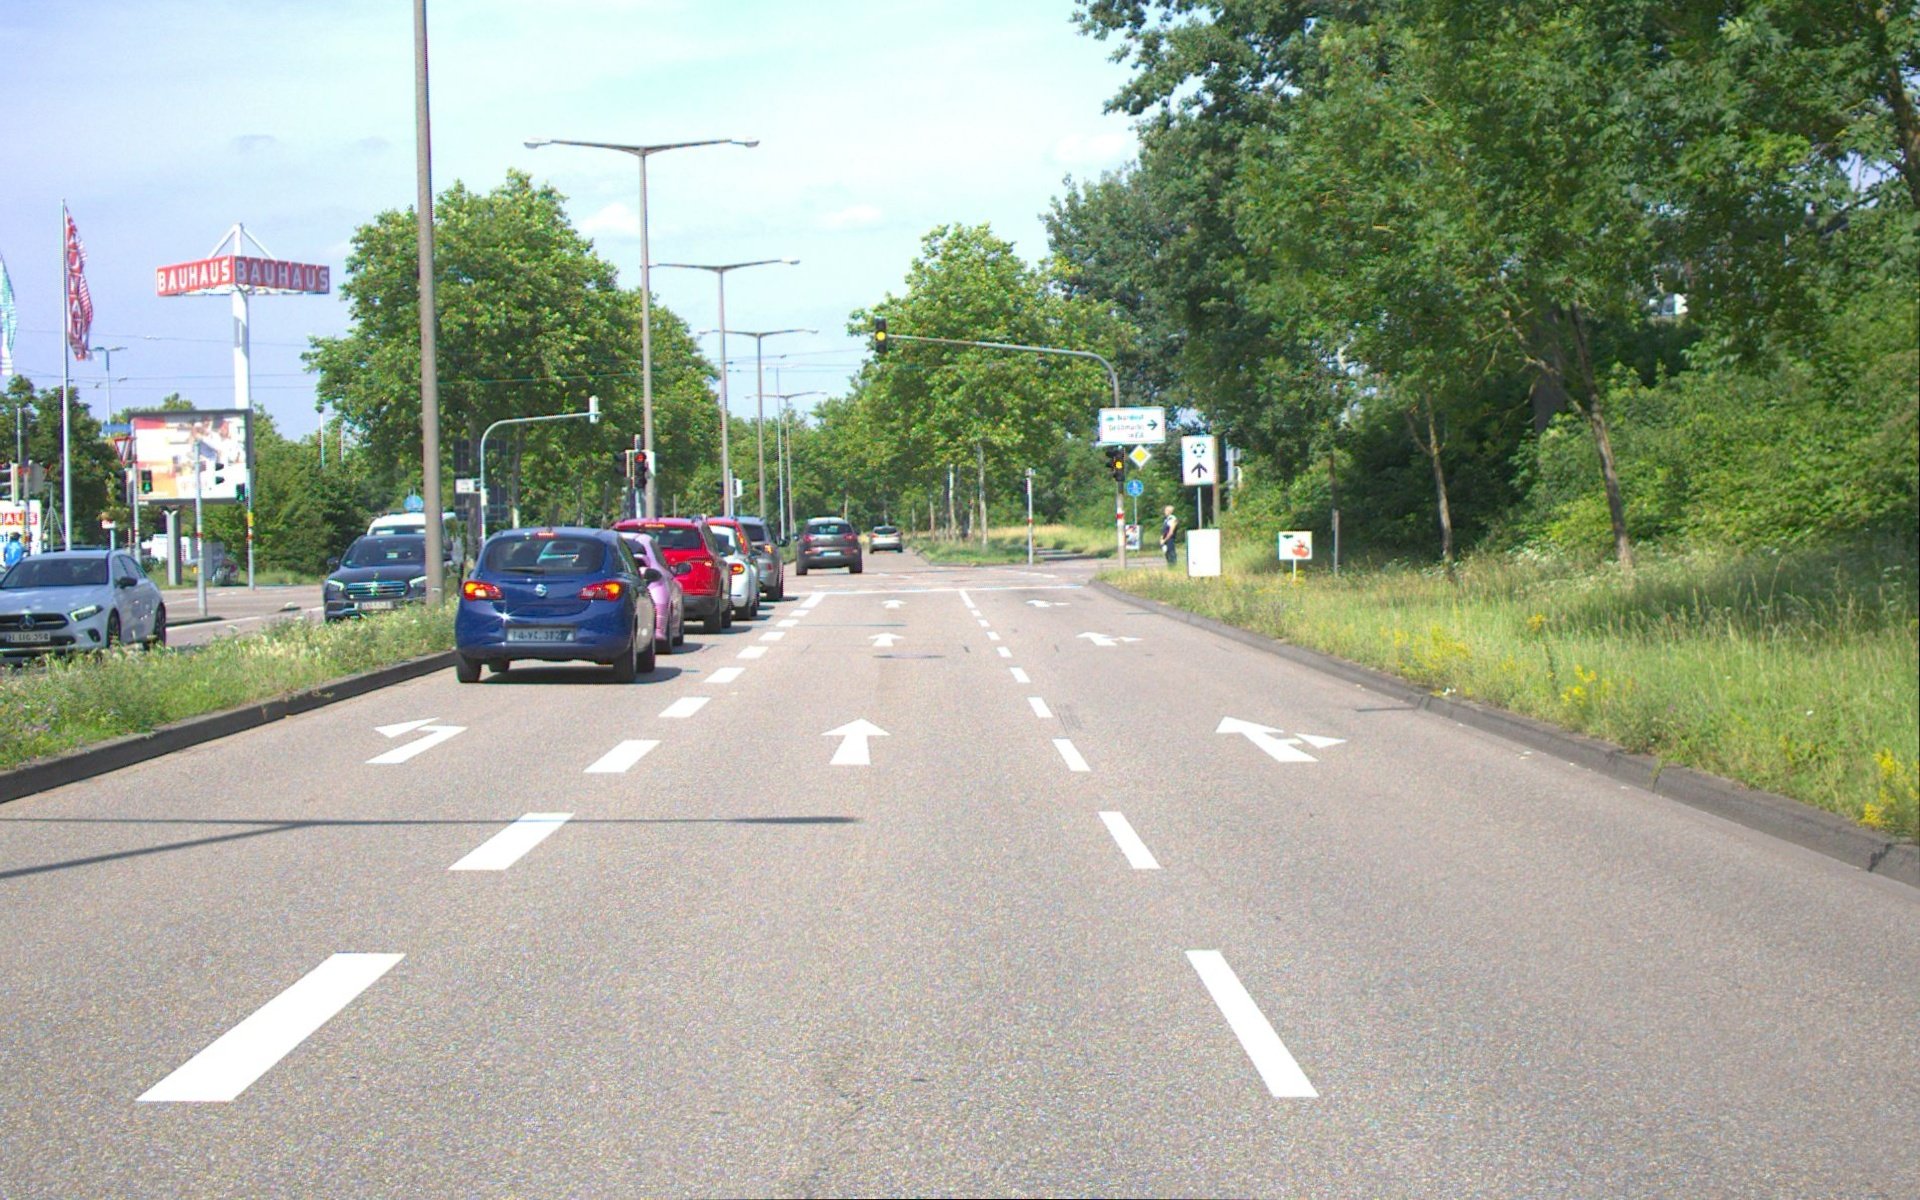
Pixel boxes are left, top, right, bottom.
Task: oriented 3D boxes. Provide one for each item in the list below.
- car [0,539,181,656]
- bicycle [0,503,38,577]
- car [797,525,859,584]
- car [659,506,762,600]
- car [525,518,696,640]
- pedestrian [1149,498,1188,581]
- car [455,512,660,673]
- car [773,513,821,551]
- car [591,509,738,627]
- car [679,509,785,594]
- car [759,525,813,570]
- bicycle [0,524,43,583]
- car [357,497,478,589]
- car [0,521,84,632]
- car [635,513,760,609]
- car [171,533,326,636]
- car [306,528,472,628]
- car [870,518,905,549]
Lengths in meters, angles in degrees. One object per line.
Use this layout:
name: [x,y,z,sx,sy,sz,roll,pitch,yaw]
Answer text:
car: [-11.592,-0.053,45.036,1.787,1.393,4.359,-2,1,-1]
bicycle: [-20.883,-1.337,76.197,0.672,1.609,0.992,-2,1,-6]
car: [-3.902,-1.373,102.157,1.736,1.530,4.001,-1,4,-1]
car: [-4.429,-0.831,61.447,1.628,1.590,3.918,-1,0,-1]
car: [-4.167,-0.292,41.556,1.702,1.385,4.473,0,1,-1]
pedestrian: [4.961,-1.438,81.831,0.837,1.926,0.772,-1,3,-4]
car: [-3.904,-0.120,33.825,1.626,1.478,4.049,1,1,-1]
car: [-7.495,-3.133,158.620,1.993,1.702,4.264,-1,1,0]
car: [-4.130,-0.495,48.662,1.782,1.587,4.594,0,1,-1]
car: [-4.462,-0.977,67.834,1.881,1.612,4.213,-1,1,-1]
car: [-6.981,-2.129,138.356,1.993,1.738,4.266,-2,1,-1]
bicycle: [-20.884,-1.035,76.274,0.672,1.252,2.247,-2,1,-6]
car: [-12.538,-1.346,79.737,1.993,2.006,5.214,-2,2,-1]
car: [-16.866,-0.360,56.992,4.392,1.744,1.866,-1,1,29]
car: [-4.139,-0.648,54.748,1.766,1.474,4.136,0,1,-1]
car: [-12.502,-0.306,60.619,1.977,1.687,4.001,-2,1,-2]
car: [-9.434,-0.399,57.153,1.993,1.525,4.683,-2,1,-1]
car: [-3.936,-3.628,187.350,1.867,1.568,4.000,-2,1,-1]
